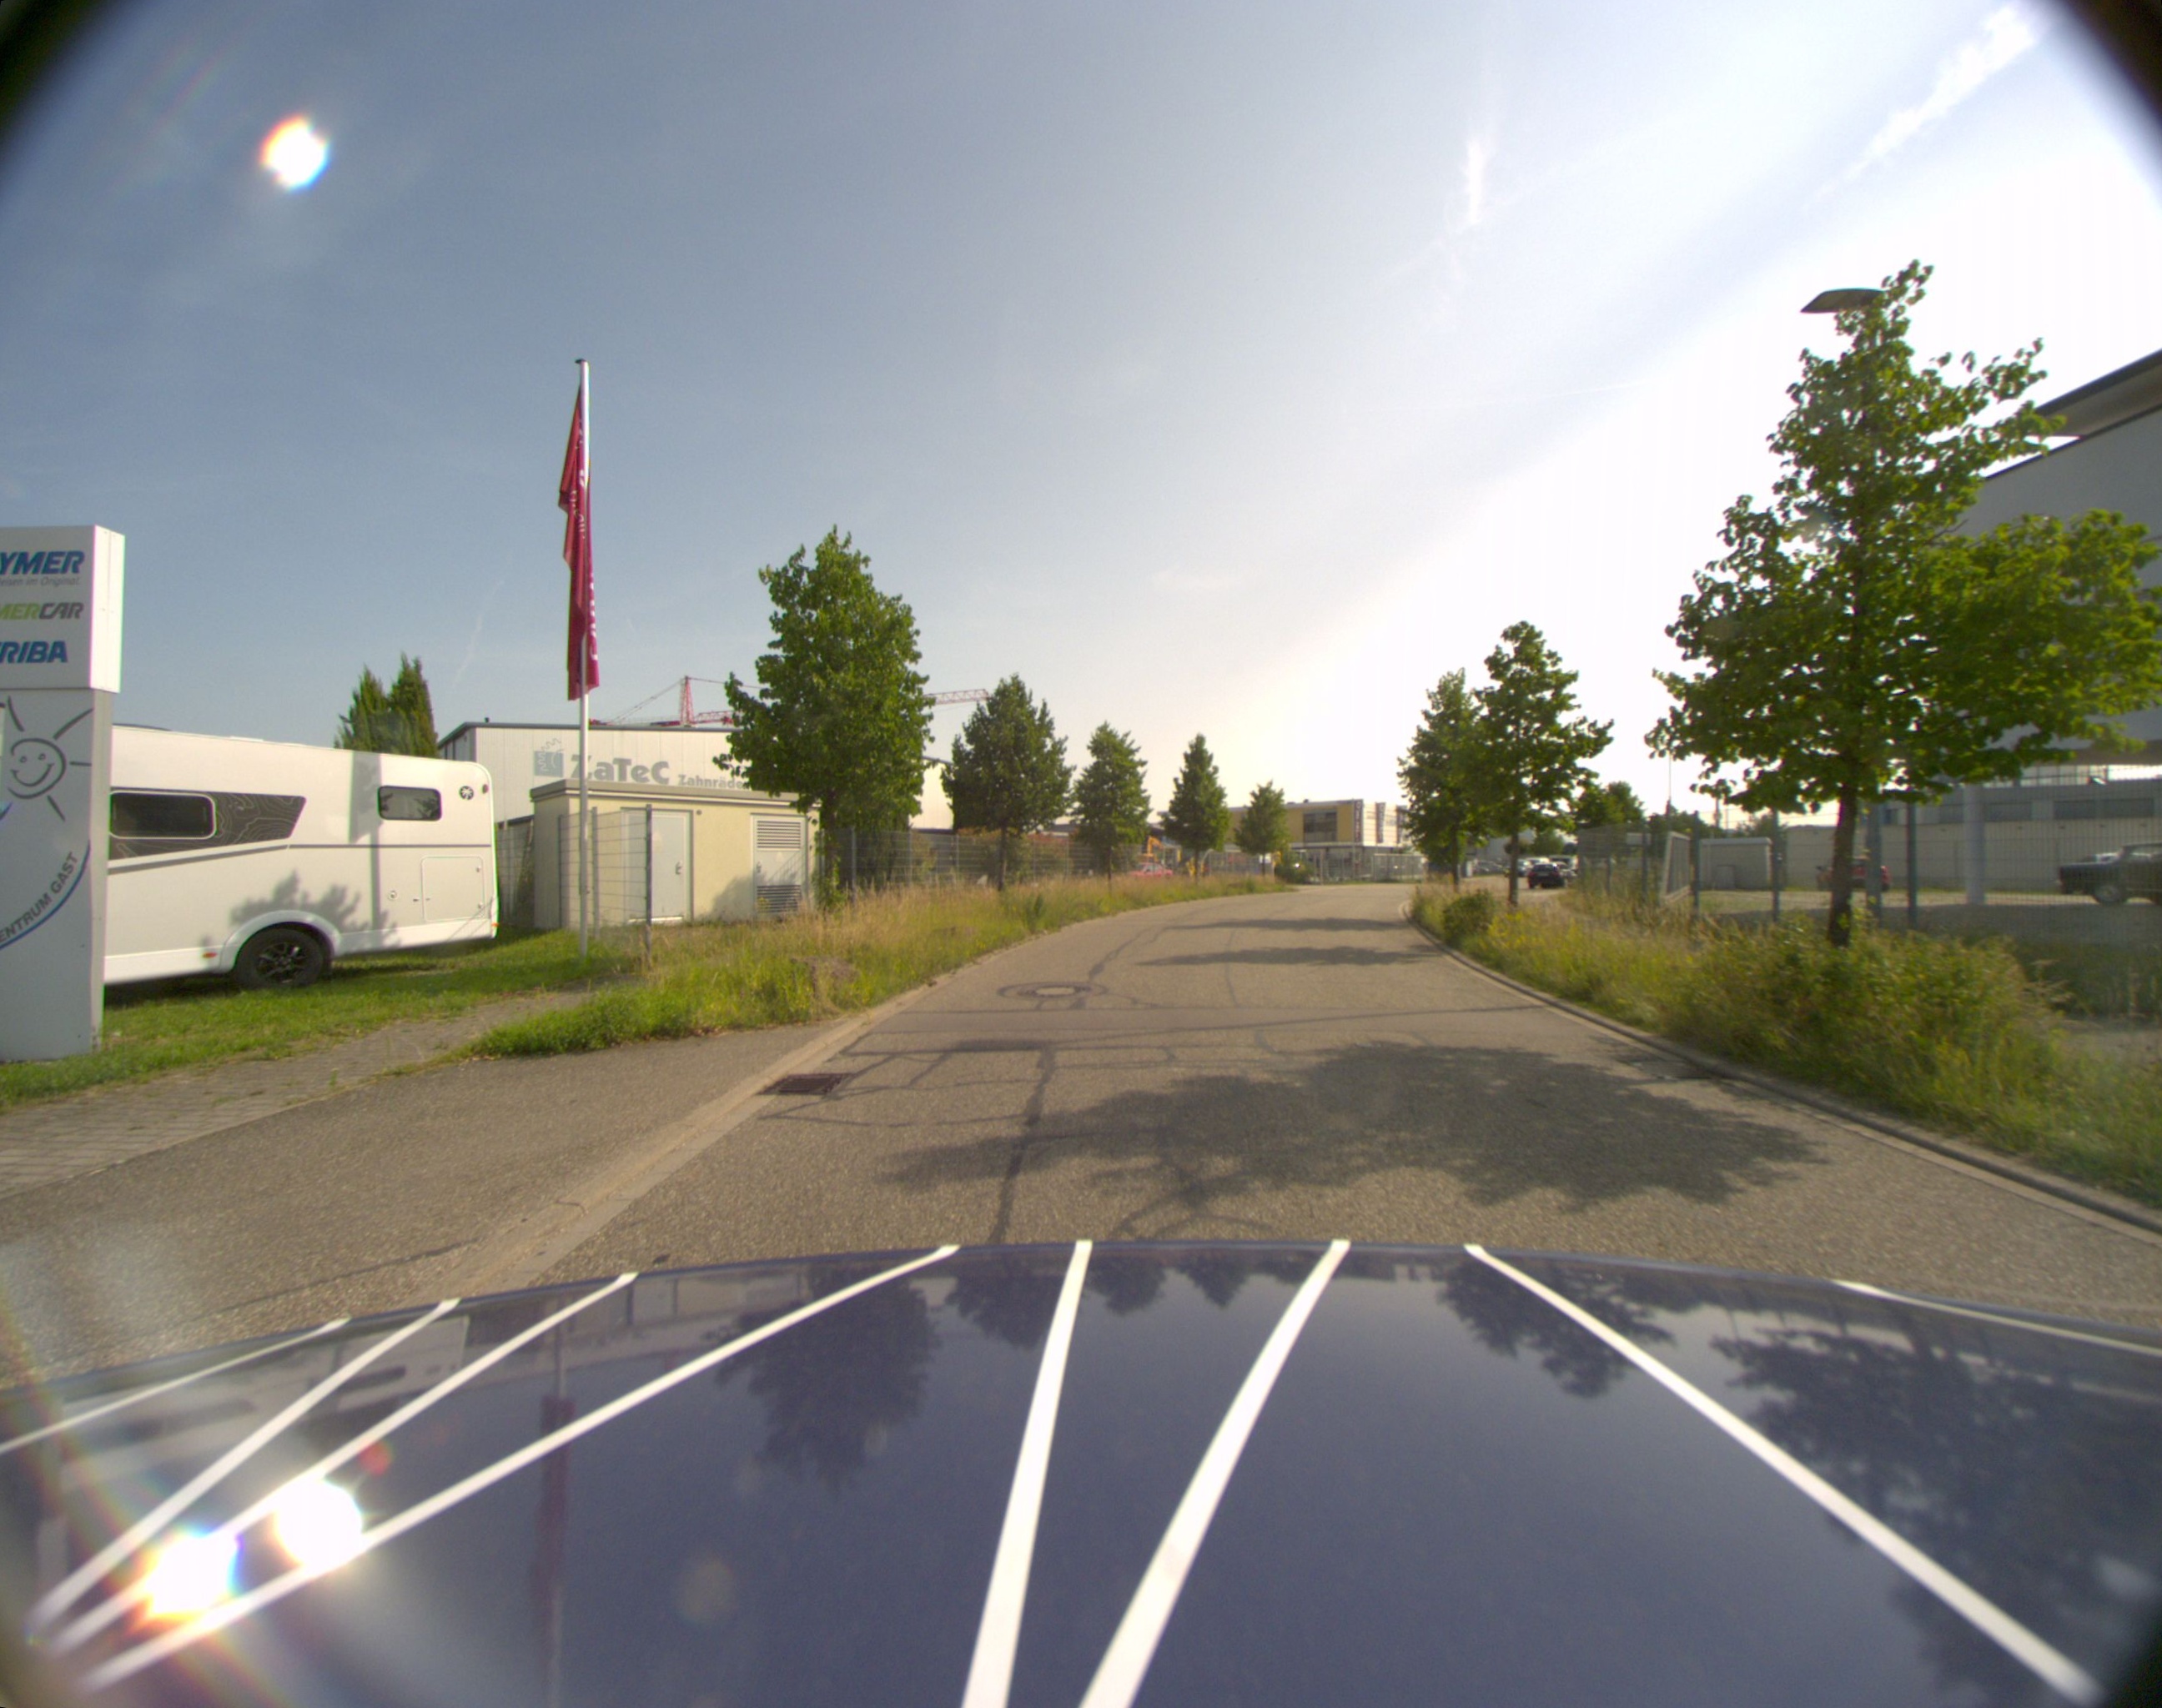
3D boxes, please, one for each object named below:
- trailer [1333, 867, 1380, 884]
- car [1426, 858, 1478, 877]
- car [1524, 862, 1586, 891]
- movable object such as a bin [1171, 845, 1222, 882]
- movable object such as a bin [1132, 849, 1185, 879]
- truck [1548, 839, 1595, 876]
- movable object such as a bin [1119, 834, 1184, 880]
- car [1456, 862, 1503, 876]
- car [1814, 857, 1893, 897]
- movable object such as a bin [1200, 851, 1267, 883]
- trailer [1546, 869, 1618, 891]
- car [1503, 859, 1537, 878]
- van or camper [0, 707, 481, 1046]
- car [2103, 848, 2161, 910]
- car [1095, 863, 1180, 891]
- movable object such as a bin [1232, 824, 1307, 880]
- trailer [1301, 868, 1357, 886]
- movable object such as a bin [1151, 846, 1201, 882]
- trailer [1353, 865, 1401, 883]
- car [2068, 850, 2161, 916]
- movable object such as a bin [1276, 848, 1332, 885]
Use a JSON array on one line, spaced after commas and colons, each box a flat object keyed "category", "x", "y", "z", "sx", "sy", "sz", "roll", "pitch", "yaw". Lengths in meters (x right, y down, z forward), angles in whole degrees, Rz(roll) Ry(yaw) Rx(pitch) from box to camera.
[{"category": "trailer", "x": 21.529, "y": 1.657, "z": 59.353, "sx": 1.945, "sy": 1.236, "sz": 4.303, "roll": 0, "pitch": -1, "yaw": 42}, {"category": "car", "x": 35.311, "y": 1.276, "z": 72.347, "sx": 4.226, "sy": 1.727, "sz": 1.903, "roll": -1, "pitch": -1, "yaw": 37}, {"category": "car", "x": 26.363, "y": 1.239, "z": 42.224, "sx": 1.995, "sy": 1.458, "sz": 4.441, "roll": -3, "pitch": -2, "yaw": 44}, {"category": "movable object such as a bin", "x": 9.665, "y": 0.800, "z": 63.359, "sx": 1.993, "sy": 3.013, "sz": 4.502, "roll": 0, "pitch": 0, "yaw": 44}, {"category": "movable object such as a bin", "x": 7.505, "y": 0.940, "z": 73.237, "sx": 2.054, "sy": 2.752, "sz": 5.703, "roll": 0, "pitch": 0, "yaw": 42}, {"category": "truck", "x": 56.562, "y": 0.437, "z": 87.472, "sx": 2.746, "sy": 3.992, "sz": 9.708, "roll": 2, "pitch": 1, "yaw": 43}, {"category": "movable object such as a bin", "x": 6.287, "y": 0.282, "z": 67.378, "sx": 2.685, "sy": 3.850, "sz": 5.730, "roll": 0, "pitch": 0, "yaw": 44}, {"category": "car", "x": 41.428, "y": 1.589, "z": 79.028, "sx": 3.989, "sy": 1.362, "sz": 1.794, "roll": -3, "pitch": -2, "yaw": 39}, {"category": "car", "x": 31.761, "y": 0.940, "z": 31.347, "sx": 1.771, "sy": 1.516, "sz": 4.314, "roll": -1, "pitch": -2, "yaw": 38}, {"category": "movable object such as a bin", "x": 12.345, "y": 1.003, "z": 61.333, "sx": 2.923, "sy": 2.477, "sz": 5.350, "roll": 0, "pitch": 0, "yaw": 44}, {"category": "trailer", "x": 30.878, "y": 1.576, "z": 46.735, "sx": 7.173, "sy": 1.225, "sz": 2.131, "roll": 1, "pitch": -3, "yaw": -44}, {"category": "car", "x": 41.711, "y": 1.394, "z": 72.165, "sx": 1.826, "sy": 1.710, "sz": 4.258, "roll": -1, "pitch": 0, "yaw": 43}, {"category": "van or camper", "x": -10.091, "y": 0.198, "z": 6.914, "sx": 2.352, "sy": 2.831, "sz": 7.348, "roll": -1, "pitch": 0, "yaw": 13}, {"category": "car", "x": 26.683, "y": 0.581, "z": 17.126, "sx": 1.868, "sy": 1.478, "sz": 4.000, "roll": 0, "pitch": -1, "yaw": -1}, {"category": "car", "x": 2.986, "y": 1.138, "z": 39.099, "sx": 1.881, "sy": 1.349, "sz": 4.784, "roll": -1, "pitch": -1, "yaw": 40}, {"category": "movable object such as a bin", "x": 17.126, "y": -0.129, "z": 68.554, "sx": 3.317, "sy": 4.777, "sz": 7.690, "roll": 0, "pitch": -1, "yaw": 42}, {"category": "trailer", "x": 18.230, "y": 1.681, "z": 55.702, "sx": 2.127, "sy": 1.236, "sz": 4.806, "roll": 0, "pitch": -1, "yaw": 42}, {"category": "movable object such as a bin", "x": 8.191, "y": 0.844, "z": 65.185, "sx": 1.993, "sy": 3.013, "sz": 4.383, "roll": 0, "pitch": 0, "yaw": 44}, {"category": "trailer", "x": 24.636, "y": 1.652, "z": 63.149, "sx": 1.994, "sy": 1.303, "sz": 4.573, "roll": -1, "pitch": 0, "yaw": 45}, {"category": "car", "x": 23.958, "y": 0.610, "z": 15.865, "sx": 1.562, "sy": 1.407, "sz": 3.921, "roll": 0, "pitch": -1, "yaw": -1}, {"category": "movable object such as a bin", "x": 17.236, "y": 0.948, "z": 58.584, "sx": 1.887, "sy": 2.736, "sz": 5.171, "roll": 0, "pitch": 0, "yaw": 44}]
